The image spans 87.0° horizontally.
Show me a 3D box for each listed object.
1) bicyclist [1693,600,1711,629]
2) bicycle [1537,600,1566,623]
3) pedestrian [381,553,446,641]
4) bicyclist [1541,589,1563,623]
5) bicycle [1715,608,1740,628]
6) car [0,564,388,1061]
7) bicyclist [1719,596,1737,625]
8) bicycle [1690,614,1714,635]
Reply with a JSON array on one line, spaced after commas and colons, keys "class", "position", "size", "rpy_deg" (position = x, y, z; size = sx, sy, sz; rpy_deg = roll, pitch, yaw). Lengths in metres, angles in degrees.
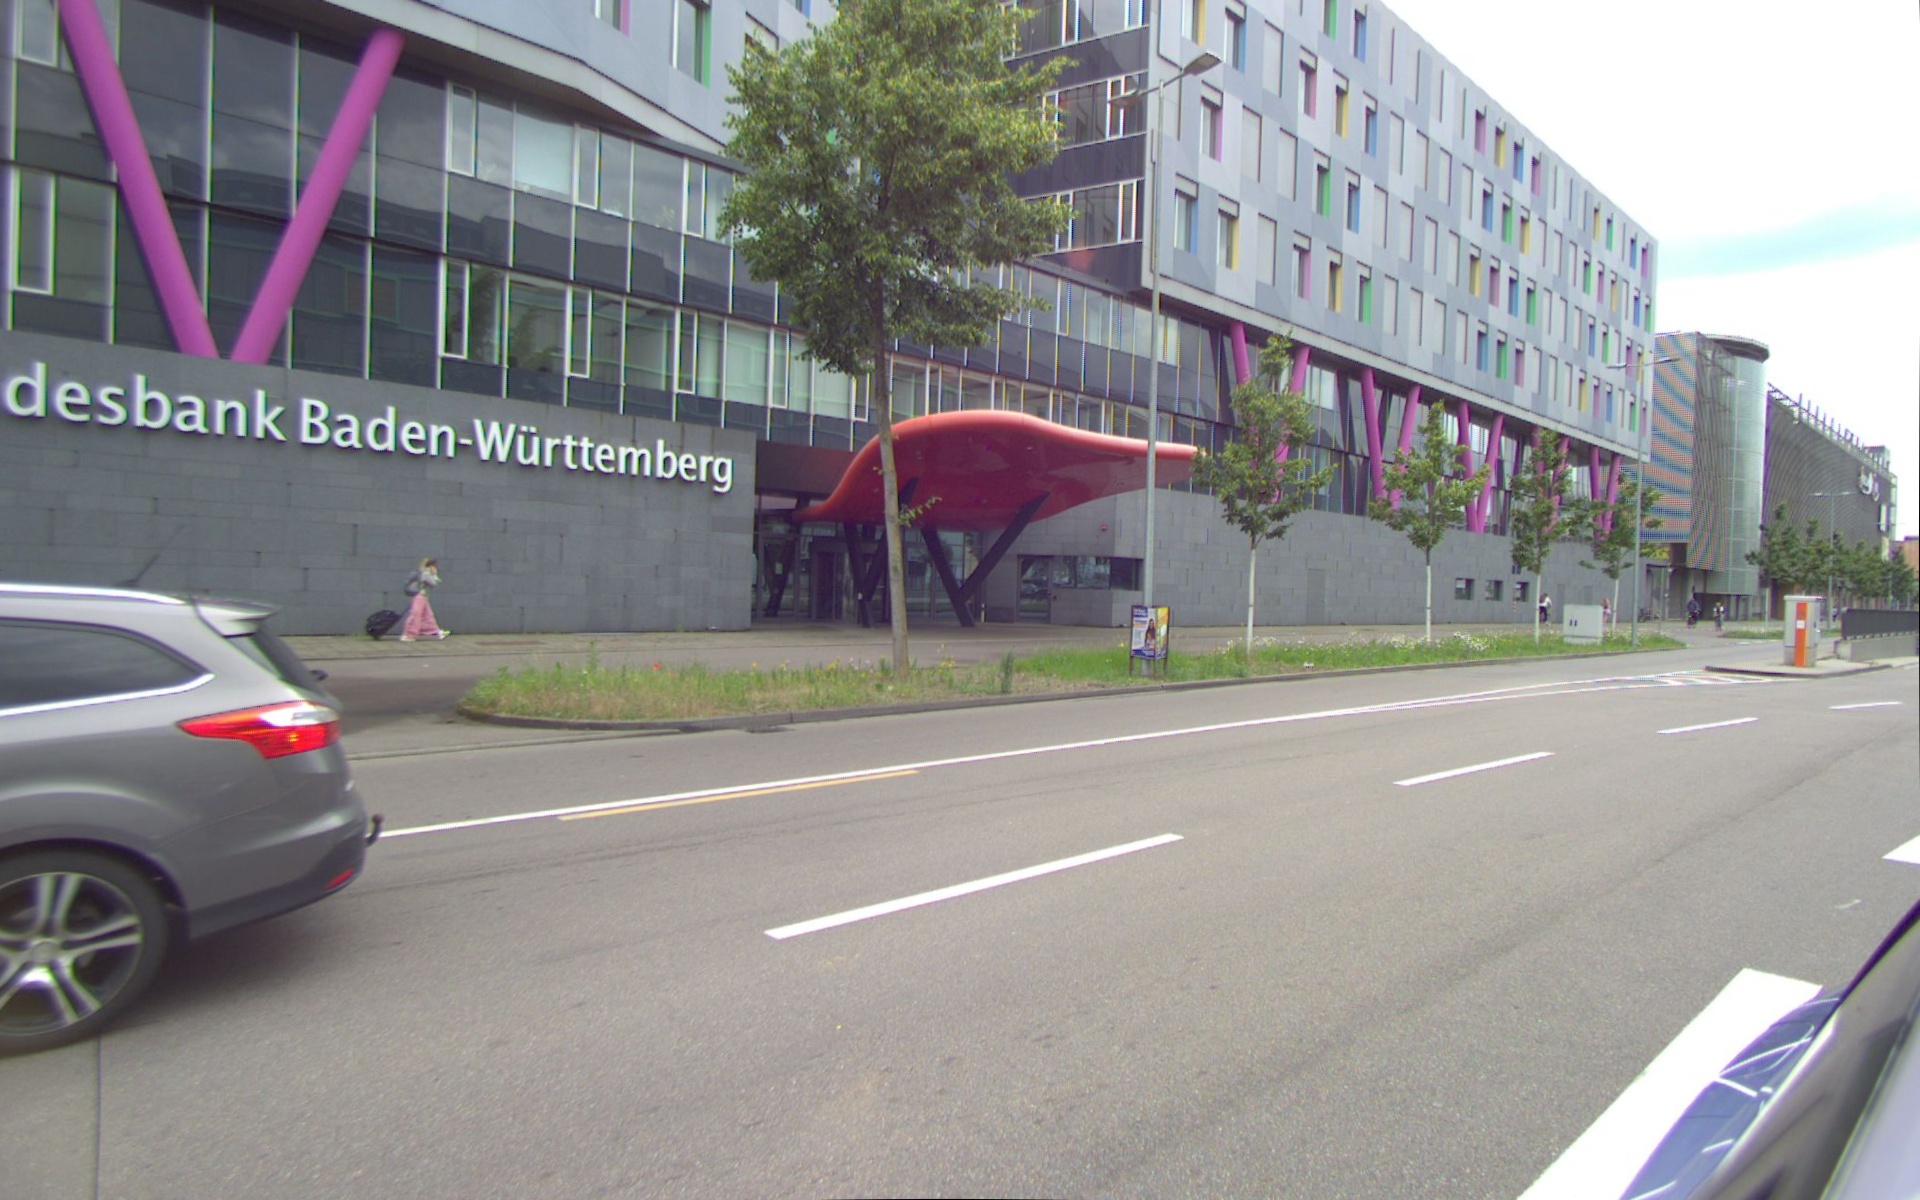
[{"class": "bicyclist", "position": [48.535, 0.974, 66.212], "size": [0.692, 1.826, 0.783], "rpy_deg": [6, -4, -41]}, {"class": "bicycle", "position": [32.165, 0.625, 55.033], "size": [2.183, 1.209, 0.784], "rpy_deg": [1, 1, -44]}, {"class": "pedestrian", "position": [-10.218, -0.060, 18.928], "size": [0.898, 1.602, 0.786], "rpy_deg": [1, 1, -40]}, {"class": "bicyclist", "position": [32.199, 0.301, 55.065], "size": [0.958, 1.809, 0.771], "rpy_deg": [2, 1, -44]}, {"class": "bicycle", "position": [48.160, 1.126, 63.485], "size": [2.304, 1.173, 0.800], "rpy_deg": [2, -1, -42]}, {"class": "car", "position": [-4.293, 0.607, 3.056], "size": [4.193, 1.518, 1.751], "rpy_deg": [2, 0, -41]}, {"class": "bicyclist", "position": [48.152, 0.659, 63.470], "size": [0.692, 1.825, 0.783], "rpy_deg": [2, -1, -41]}, {"class": "bicycle", "position": [48.527, 1.599, 66.206], "size": [2.303, 1.173, 0.800], "rpy_deg": [6, -4, -42]}]
